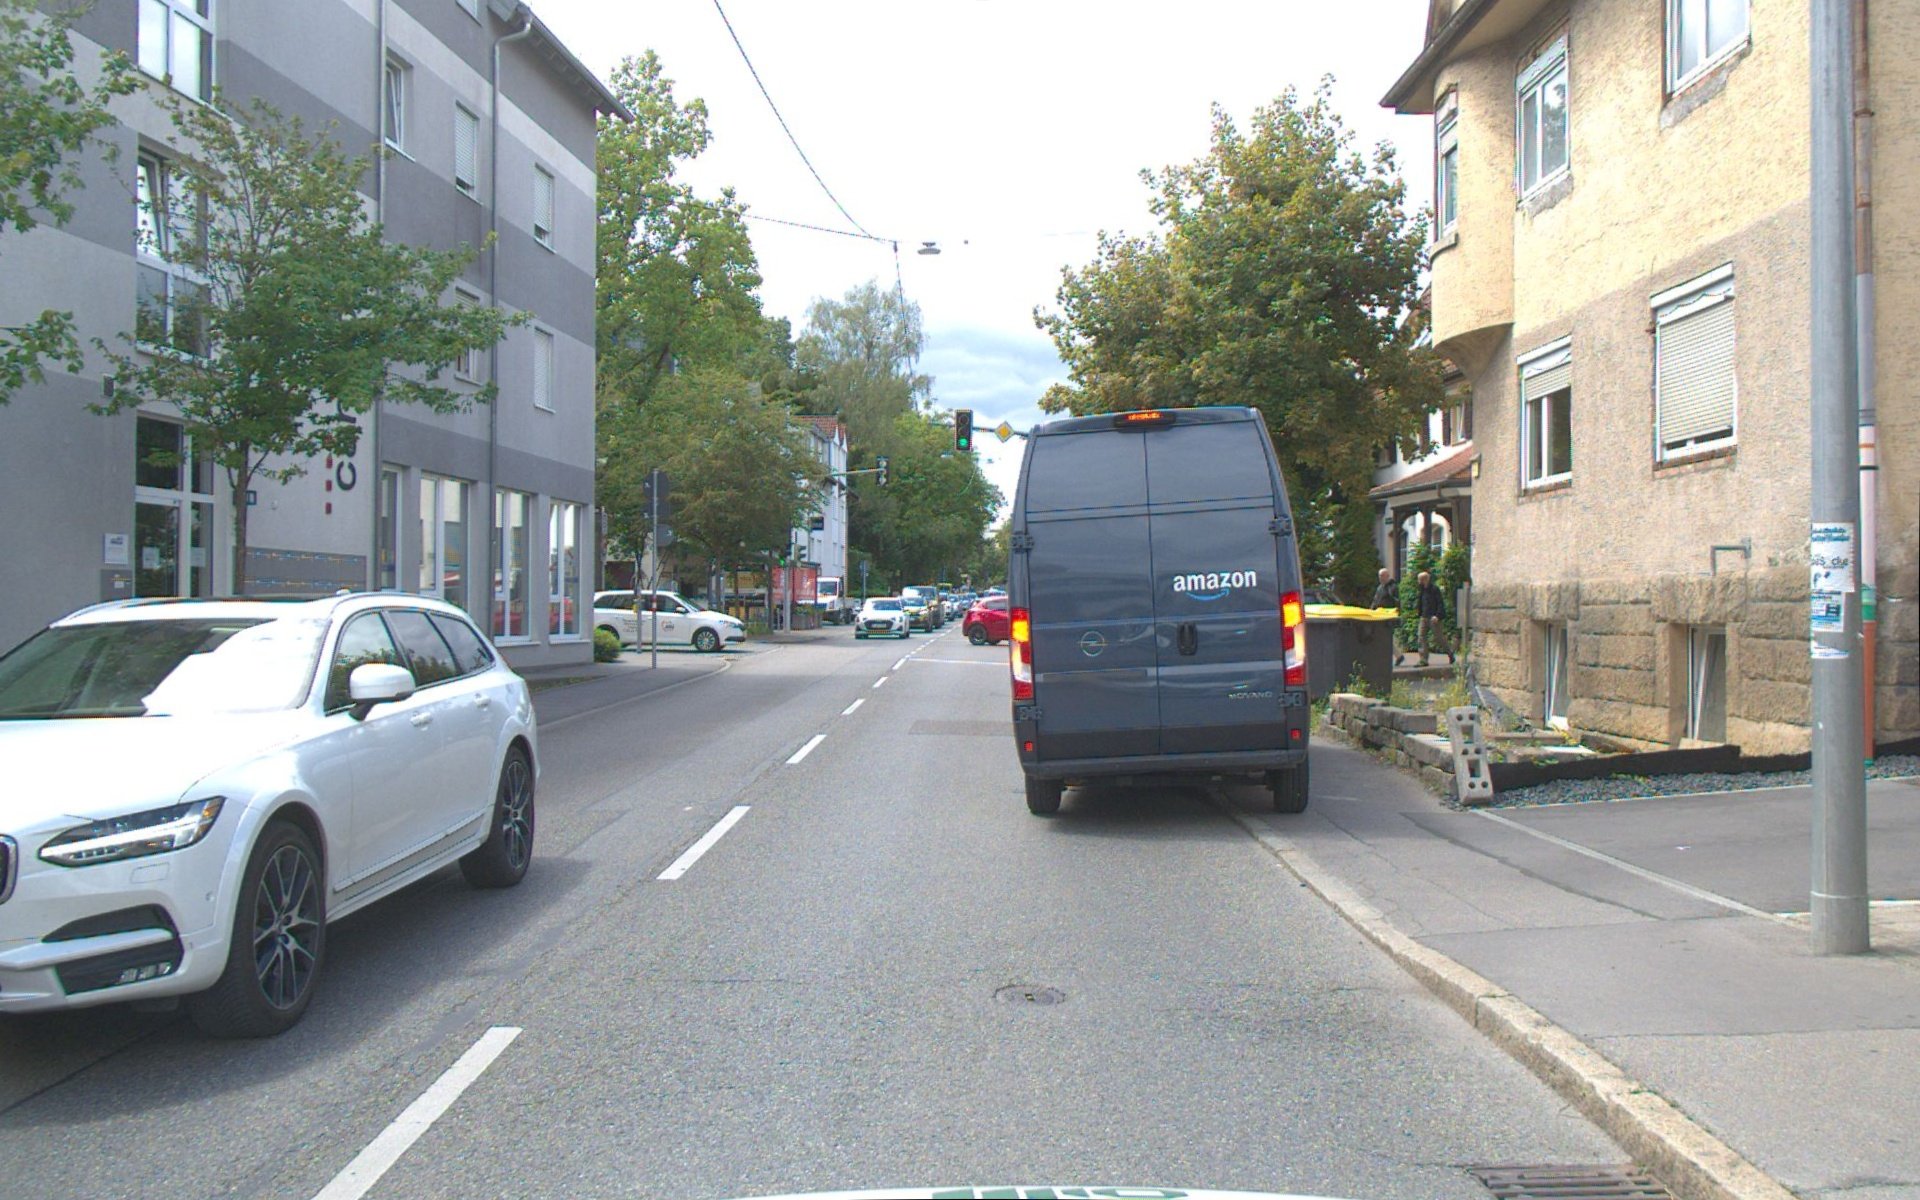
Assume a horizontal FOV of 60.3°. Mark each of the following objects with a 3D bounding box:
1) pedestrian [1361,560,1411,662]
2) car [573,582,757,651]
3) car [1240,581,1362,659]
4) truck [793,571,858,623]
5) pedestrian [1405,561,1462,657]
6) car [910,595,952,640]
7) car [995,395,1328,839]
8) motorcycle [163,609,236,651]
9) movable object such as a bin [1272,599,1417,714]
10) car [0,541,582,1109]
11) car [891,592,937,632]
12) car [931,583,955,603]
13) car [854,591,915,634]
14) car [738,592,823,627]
[{"bbox_3d":[7.724,0.190,29.993,0.725,1.813,0.899,1,0,24],"label":"pedestrian"},{"bbox_3d":[-7.203,0.387,40.619,4.124,1.540,1.823,1,1,1],"label":"car"},{"bbox_3d":[7.836,0.429,37.702,1.717,1.543,4.076,-3,0,26],"label":"car"},{"bbox_3d":[-6.588,-0.115,81.755,2.177,2.421,6.329,1,0,5],"label":"truck"},{"bbox_3d":[8.418,0.161,29.380,0.771,1.672,0.796,1,0,32],"label":"pedestrian"},{"bbox_3d":[-1.315,0.778,76.847,1.838,1.946,4.752,1,0,0],"label":"car"},{"bbox_3d":[1.746,0.094,13.757,2.102,2.819,6.254,1,0,9],"label":"car"},{"bbox_3d":[-19.984,0.786,43.547,1.180,1.022,2.333,1,0,-11],"label":"motorcycle"},{"bbox_3d":[4.534,0.645,19.531,1.169,1.288,1.197,1,0,-30],"label":"movable object such as a bin"},{"bbox_3d":[-3.122,0.657,7.075,1.859,1.587,4.800,-2,0,0],"label":"car"},{"bbox_3d":[-1.891,0.475,68.743,1.692,1.565,4.001,1,1,1],"label":"car"},{"bbox_3d":[-1.785,-0.769,178.098,2.101,2.015,4.933,1,0,5],"label":"car"},{"bbox_3d":[-2.644,0.424,58.576,1.835,1.449,4.116,1,0,2],"label":"car"},{"bbox_3d":[-8.042,0.418,74.424,3.618,1.450,1.804,1,0,-2],"label":"car"}]
